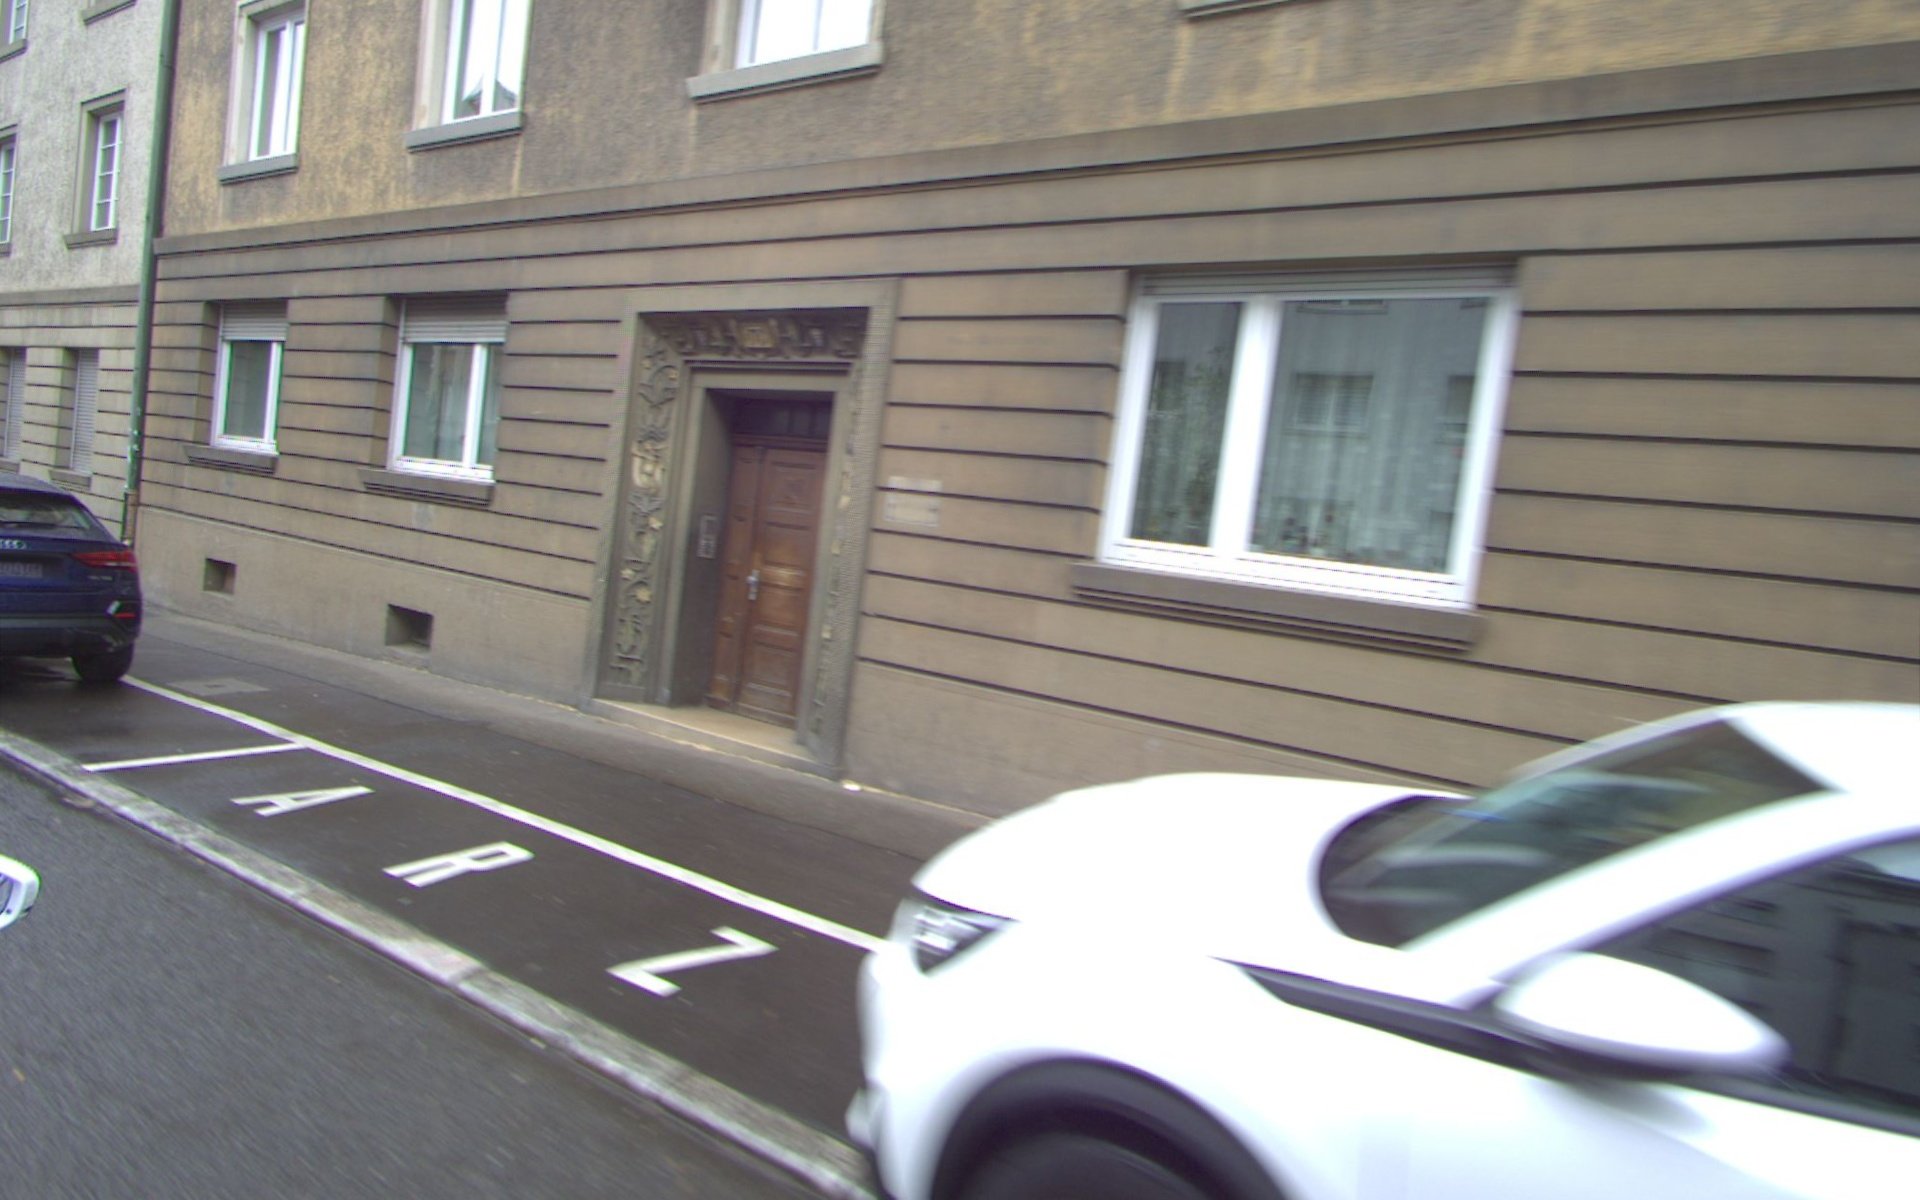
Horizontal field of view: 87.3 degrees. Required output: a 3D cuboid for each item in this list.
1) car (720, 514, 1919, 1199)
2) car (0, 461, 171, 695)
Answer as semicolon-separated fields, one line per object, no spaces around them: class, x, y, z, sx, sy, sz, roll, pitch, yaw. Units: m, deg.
car;1.712;0.856;1.800;4.123;1.662;1.631;7;4;30
car;-8.119;-0.361;7.818;4.155;1.569;1.790;7;3;32
